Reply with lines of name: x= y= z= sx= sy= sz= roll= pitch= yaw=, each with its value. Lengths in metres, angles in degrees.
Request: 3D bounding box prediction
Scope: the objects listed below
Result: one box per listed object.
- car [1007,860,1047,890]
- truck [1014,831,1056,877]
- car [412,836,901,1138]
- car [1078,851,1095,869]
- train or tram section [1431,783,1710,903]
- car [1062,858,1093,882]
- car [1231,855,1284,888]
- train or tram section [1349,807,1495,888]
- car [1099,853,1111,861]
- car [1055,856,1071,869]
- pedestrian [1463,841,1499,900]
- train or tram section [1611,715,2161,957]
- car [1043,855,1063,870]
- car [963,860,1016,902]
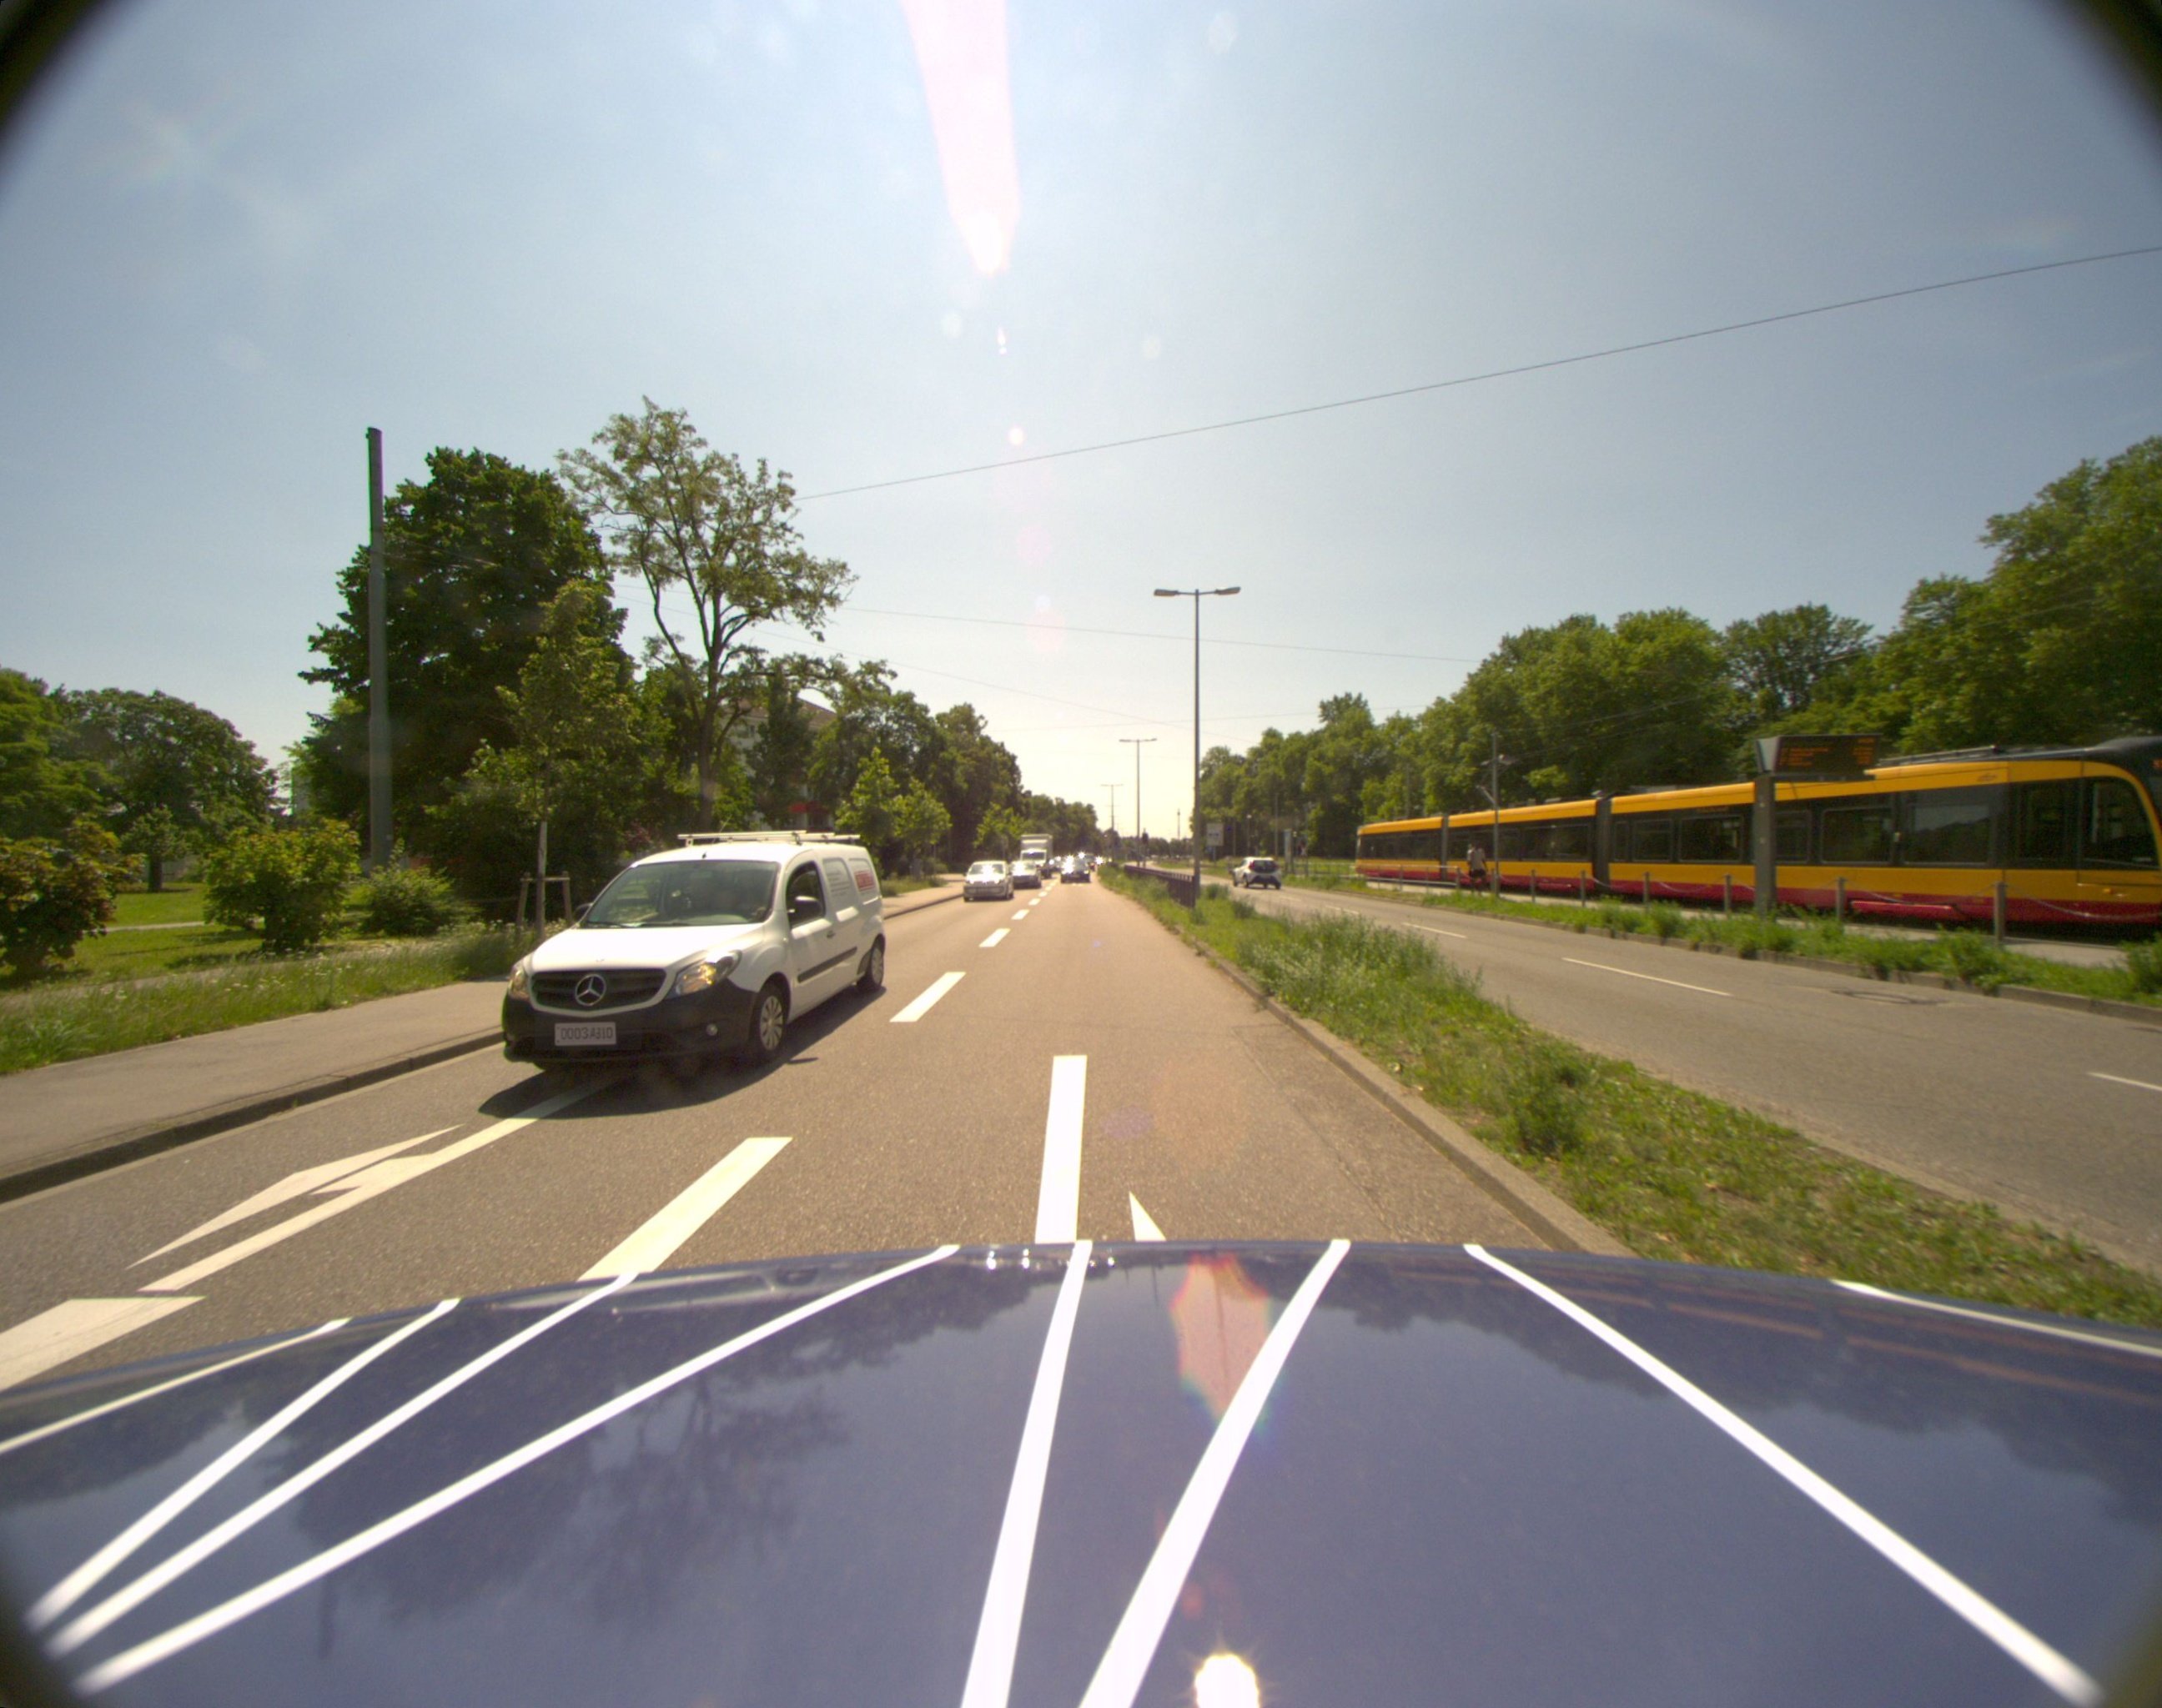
car: x=-2.758 y=1.050 z=39.819 sx=1.618 sy=1.373 sz=4.115 roll=-2 pitch=0 yaw=2
truck: x=-3.390 y=-0.025 z=57.533 sx=2.489 sy=3.277 sz=6.605 roll=-1 pitch=0 yaw=3
car: x=-3.277 y=0.839 z=7.336 sx=1.809 sy=1.845 sz=5.082 roll=-2 pitch=0 yaw=0
car: x=0.589 y=0.656 z=81.756 sx=1.746 sy=1.840 sz=3.887 roll=-1 pitch=0 yaw=1
train or tram section: x=18.476 y=-0.351 z=30.475 sx=3.051 sy=3.719 sz=12.595 roll=-2 pitch=0 yaw=0
car: x=-0.178 y=0.939 z=46.532 sx=1.746 sy=1.382 sz=3.887 roll=-1 pitch=0 yaw=1
car: x=8.649 y=0.828 z=37.508 sx=1.774 sy=1.496 sz=3.719 roll=-1 pitch=0 yaw=0
train or tram section: x=18.521 y=-0.331 z=42.497 sx=2.957 sy=3.833 sz=11.540 roll=-2 pitch=0 yaw=0
car: x=4.264 y=0.600 z=136.151 sx=1.745 sy=1.382 sz=3.889 roll=-1 pitch=0 yaw=7
car: x=-2.094 y=0.969 z=89.668 sx=1.618 sy=1.373 sz=4.115 roll=-2 pitch=0 yaw=2
pedestrian: x=12.378 y=0.514 z=23.520 sx=0.633 sy=1.781 sz=0.776 roll=-2 pitch=1 yaw=-1
train or tram section: x=18.330 y=-0.328 z=17.499 sx=3.051 sy=3.745 sz=13.261 roll=-2 pitch=0 yaw=1
car: x=-2.777 y=0.852 z=76.334 sx=1.746 sy=1.382 sz=3.887 roll=-1 pitch=0 yaw=1
car: x=-3.460 y=0.993 z=29.302 sx=1.626 sy=1.433 sz=3.498 roll=-2 pitch=0 yaw=-1
